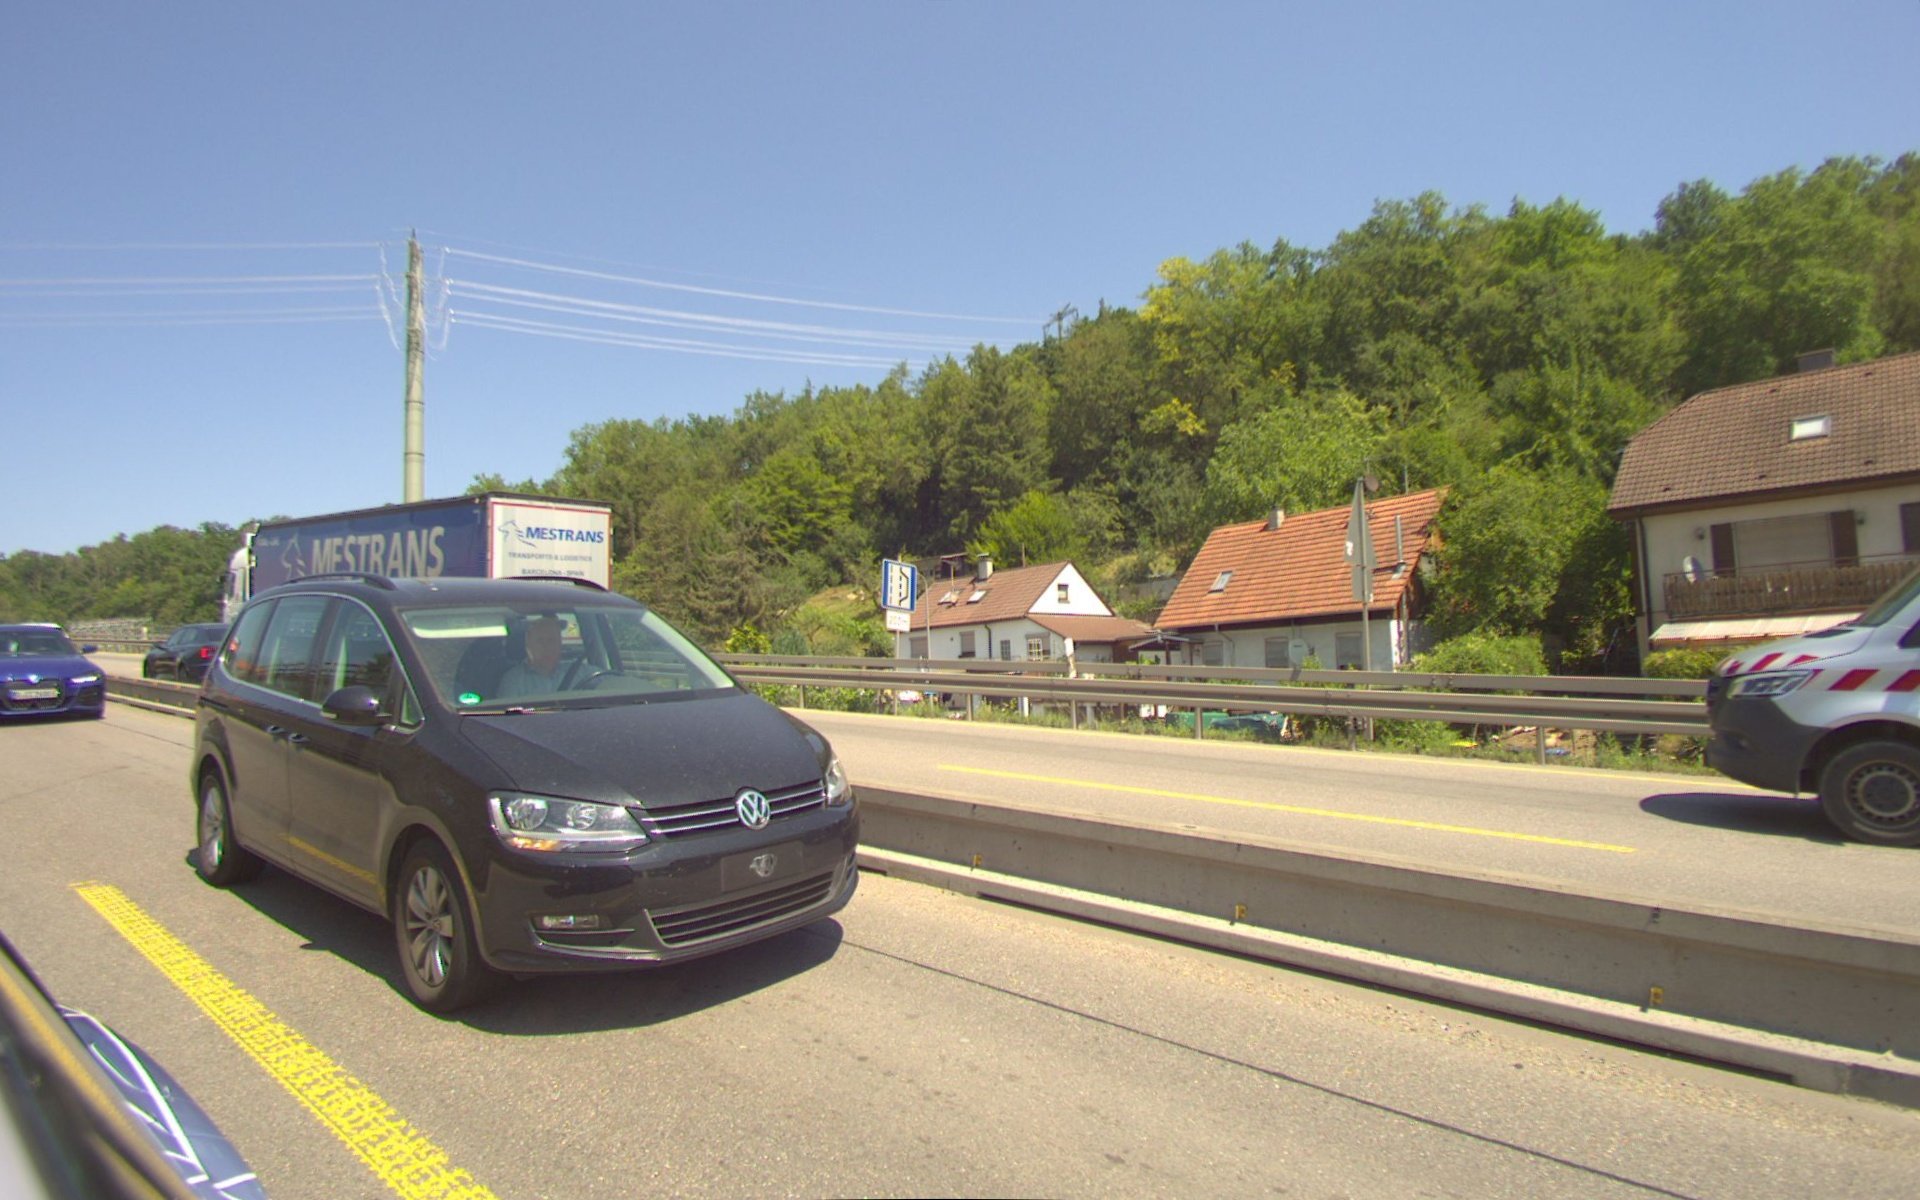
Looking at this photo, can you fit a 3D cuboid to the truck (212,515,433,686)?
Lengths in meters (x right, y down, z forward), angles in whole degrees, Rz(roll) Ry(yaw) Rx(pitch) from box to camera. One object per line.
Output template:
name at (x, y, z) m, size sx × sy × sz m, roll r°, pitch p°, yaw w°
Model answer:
truck at (-17.520, 0.104, 27.643) m, size 6.872 × 4.111 × 3.104 m, roll -2°, pitch -2°, yaw 39°

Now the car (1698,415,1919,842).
car at (7.978, 0.140, 5.700) m, size 5.977 × 2.623 × 1.984 m, roll -2°, pitch -2°, yaw 42°

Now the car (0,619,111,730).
car at (-15.165, 1.109, 16.029) m, size 4.783 × 1.567 × 1.872 m, roll -2°, pitch -2°, yaw 41°

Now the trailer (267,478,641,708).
trailer at (-11.990, 0.021, 23.059) m, size 11.806 × 4.111 × 3.104 m, roll -2°, pitch -2°, yaw 39°

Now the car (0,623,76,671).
car at (-32.132, 1.597, 35.027) m, size 4.186 × 1.547 × 1.654 m, roll -2°, pitch -2°, yaw 39°

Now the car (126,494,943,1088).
car at (-2.674, 0.627, 5.379) m, size 5.300 × 1.719 × 1.837 m, roll -2°, pitch -2°, yaw 41°

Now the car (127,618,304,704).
car at (-15.181, 1.177, 20.543) m, size 4.554 × 1.558 × 1.832 m, roll -2°, pitch -2°, yaw 39°
